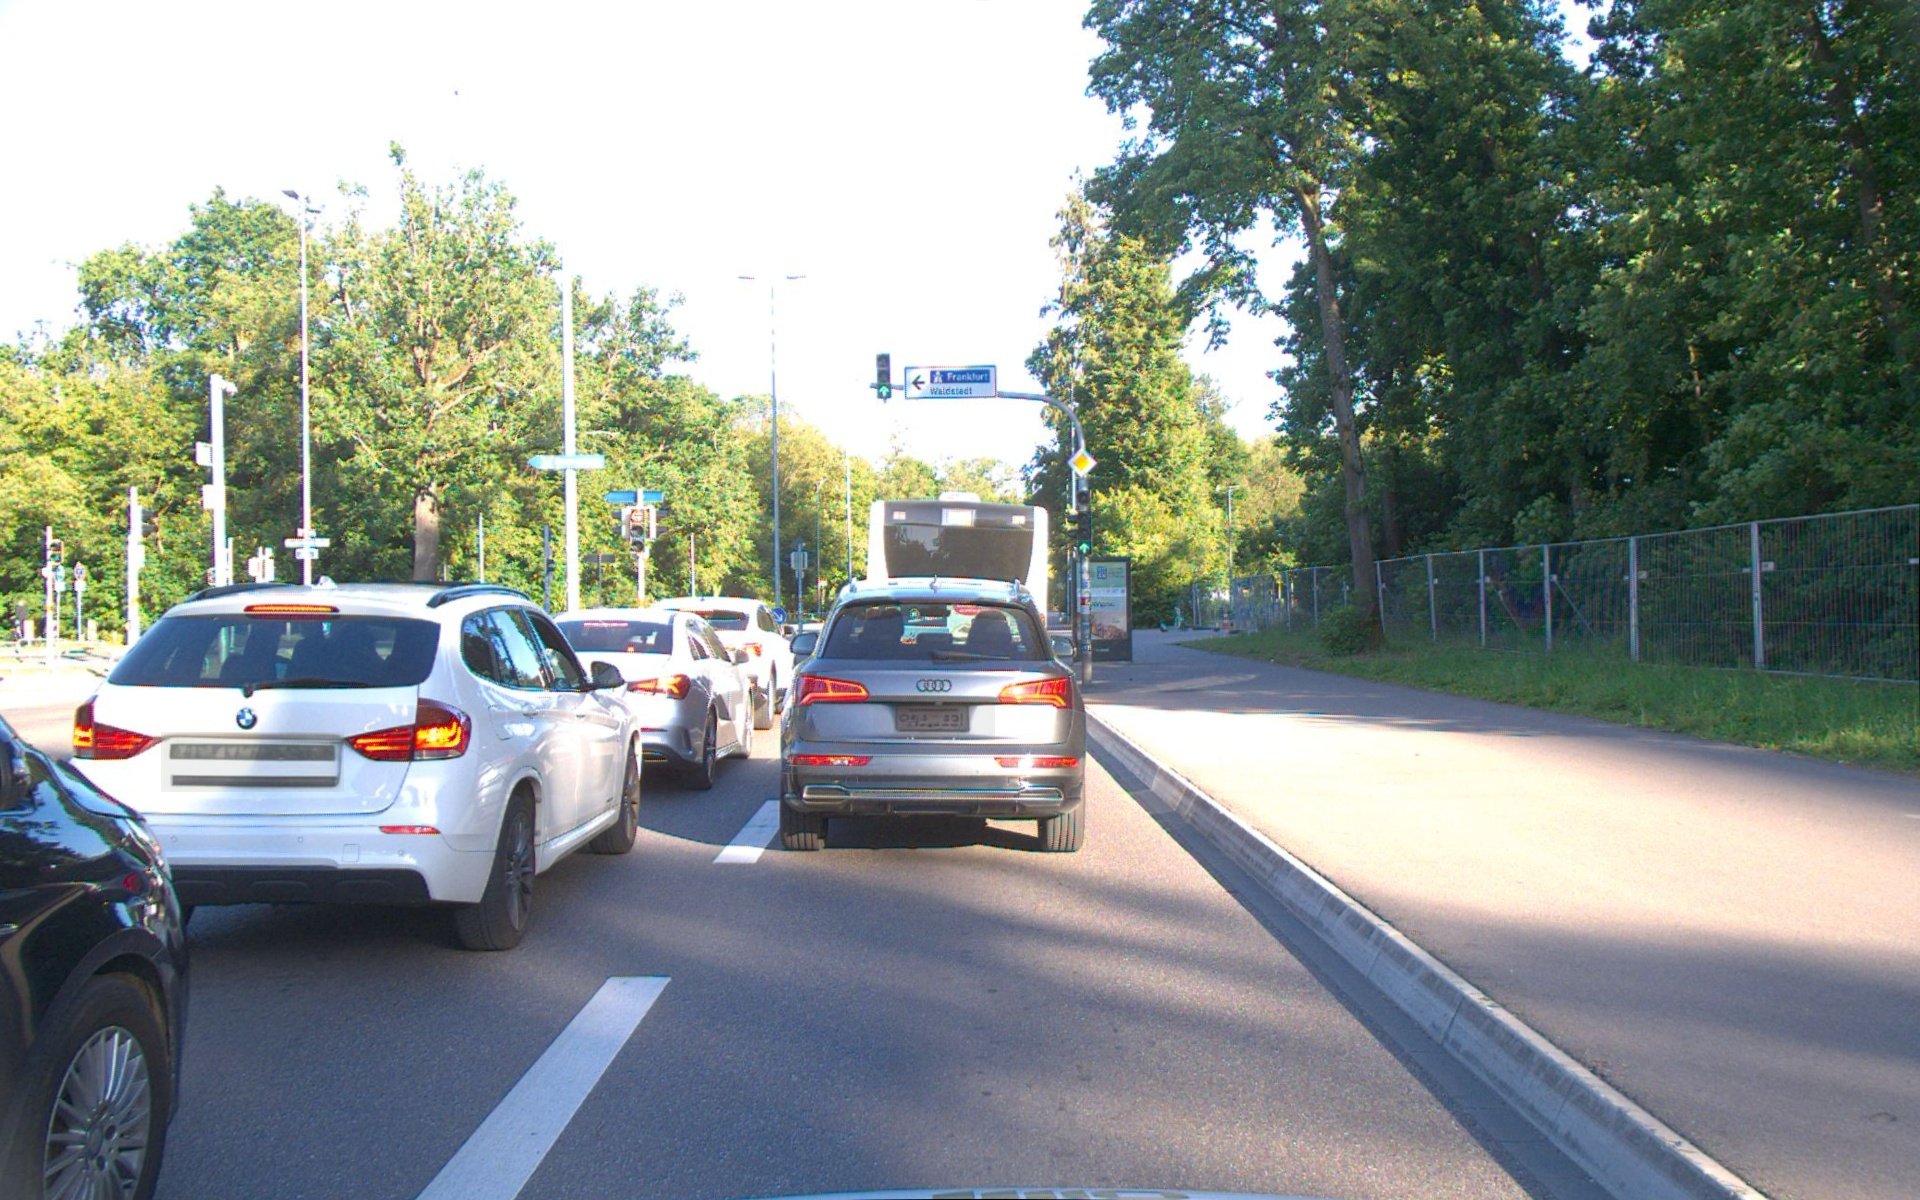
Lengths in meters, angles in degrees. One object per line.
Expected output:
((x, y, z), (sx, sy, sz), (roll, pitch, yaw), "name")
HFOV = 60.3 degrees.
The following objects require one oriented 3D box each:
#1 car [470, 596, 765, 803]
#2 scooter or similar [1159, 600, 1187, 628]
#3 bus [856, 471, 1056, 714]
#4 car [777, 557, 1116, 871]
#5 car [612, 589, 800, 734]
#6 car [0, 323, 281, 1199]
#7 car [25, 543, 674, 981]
((-2.801, 0.737, 14.443), (1.749, 1.469, 4.277), (1, 1, -1), "car")
((9.175, 0.590, 71.232), (1.158, 1.195, 0.659), (1, 0, 10), "scooter or similar")
((-0.036, -0.132, 25.052), (2.624, 3.197, 5.882), (1, 0, 0), "bus")
((-0.107, 0.609, 11.104), (1.830, 1.693, 3.999), (1, 1, -1), "car")
((-3.073, 0.681, 20.742), (1.771, 1.599, 3.999), (1, 1, -1), "car")
((-2.611, 0.468, 1.671), (1.868, 1.888, 4.873), (1, 1, -1), "car")
((-2.663, 0.629, 8.407), (1.684, 1.608, 4.433), (1, -1, -1), "car")
